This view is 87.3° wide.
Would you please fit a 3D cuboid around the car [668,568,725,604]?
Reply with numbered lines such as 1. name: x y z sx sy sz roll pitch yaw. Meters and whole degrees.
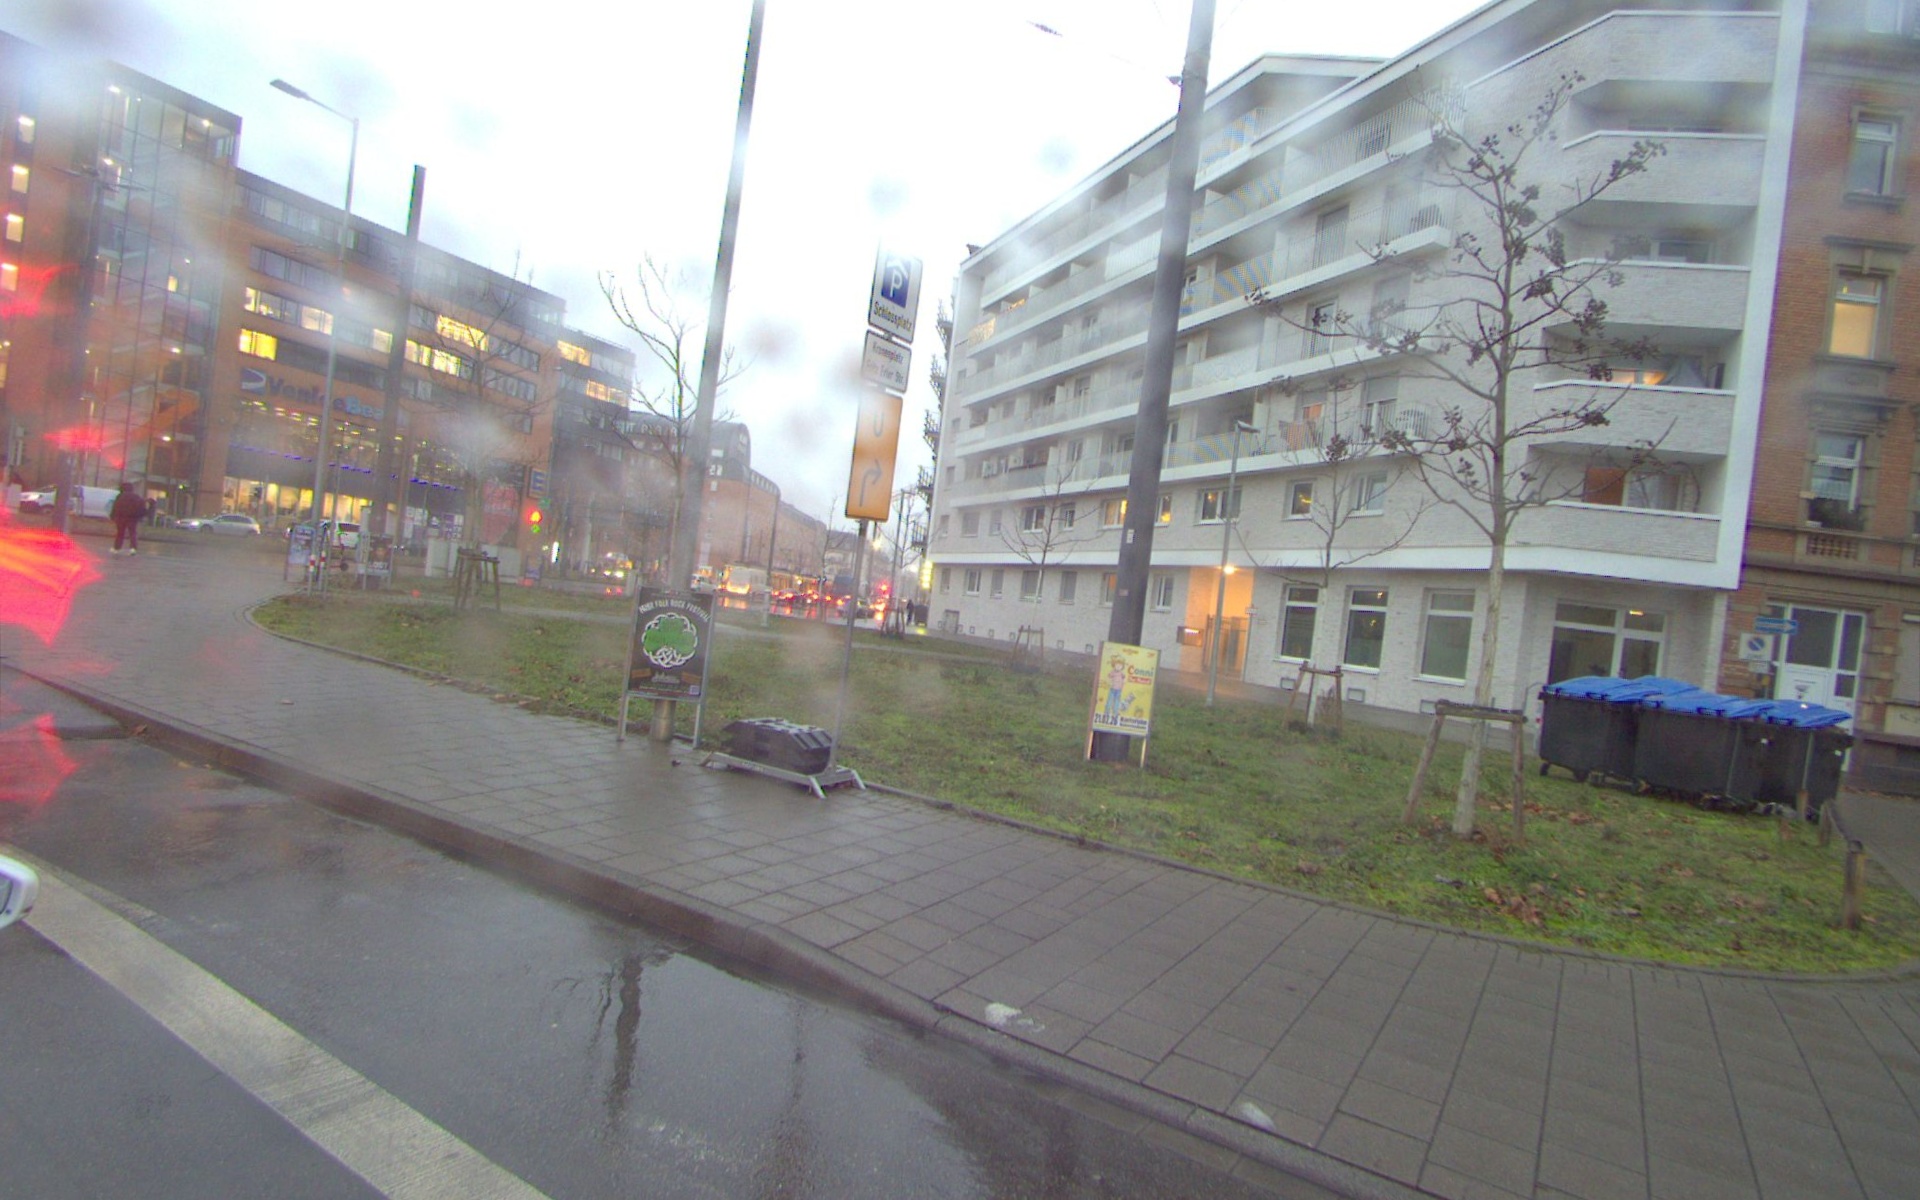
1. car: -19.996 -1.035 76.573 1.963 2.036 4.003 8 -2 22

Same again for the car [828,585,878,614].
1. car: -8.648 0.001 81.738 1.798 1.873 4.682 6 -1 23

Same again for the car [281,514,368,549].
1. car: -41.300 -4.429 65.513 1.767 1.553 4.444 7 -1 25

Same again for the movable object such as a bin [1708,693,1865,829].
1. movable object such as a bin: 10.729 2.063 13.090 1.021 1.507 1.039 9 -2 -12

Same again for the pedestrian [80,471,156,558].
1. pedestrian: -21.117 -2.126 25.269 1.164 1.945 0.890 10 -2 -35

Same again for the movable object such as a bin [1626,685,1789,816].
1. movable object such as a bin: 9.611 1.917 12.972 1.003 1.434 1.218 6 1 -21

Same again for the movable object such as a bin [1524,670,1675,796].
1. movable object such as a bin: 9.020 1.850 14.245 1.016 1.513 1.324 7 0 -18

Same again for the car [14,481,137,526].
1. car: -46.256 -5.019 52.720 1.767 1.614 4.431 7 -1 25

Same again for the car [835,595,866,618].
1. car: -10.002 0.582 92.046 1.662 1.636 3.470 8 -2 10

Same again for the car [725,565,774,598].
1. car: -17.546 -1.510 84.066 1.962 2.036 4.957 8 -2 11

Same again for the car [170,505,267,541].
1. car: -43.743 -4.511 59.458 1.767 1.406 4.227 7 -1 25
